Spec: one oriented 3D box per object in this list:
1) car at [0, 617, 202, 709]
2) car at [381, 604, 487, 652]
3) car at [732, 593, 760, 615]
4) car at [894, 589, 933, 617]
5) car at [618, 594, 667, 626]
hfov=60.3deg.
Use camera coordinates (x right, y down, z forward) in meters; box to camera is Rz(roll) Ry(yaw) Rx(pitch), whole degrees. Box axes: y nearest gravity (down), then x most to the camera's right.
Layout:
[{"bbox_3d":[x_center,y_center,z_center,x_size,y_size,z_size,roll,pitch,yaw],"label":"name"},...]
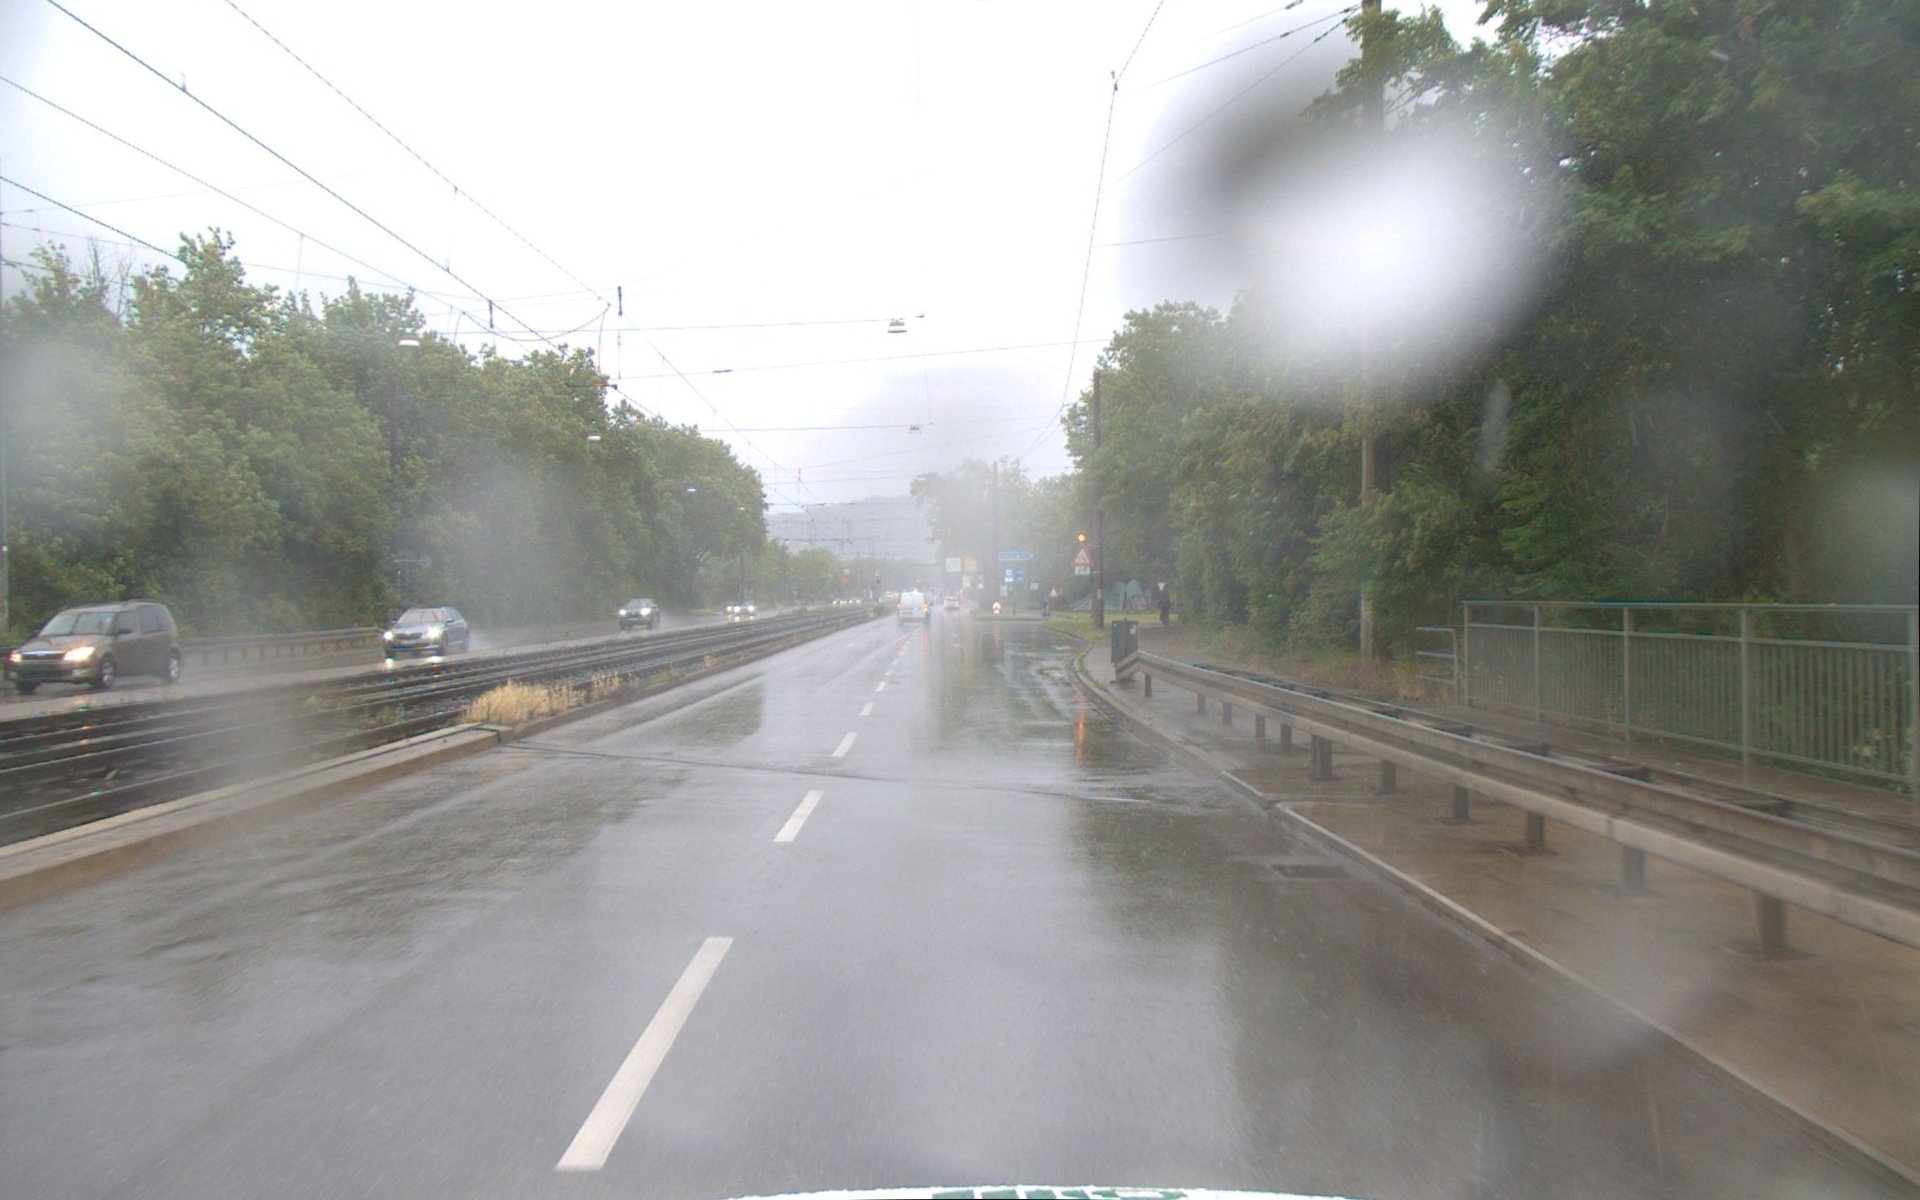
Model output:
[{"bbox_3d":[-16.405,1.148,31.656,1.803,1.601,4.384,0,0,-1],"label":"car"},{"bbox_3d":[-16.749,0.873,52.908,1.953,1.413,4.851,0,0,-2],"label":"car"},{"bbox_3d":[-19.683,0.359,152.301,1.954,1.813,3.999,4,0,-1],"label":"car"},{"bbox_3d":[-2.519,0.160,90.729,2.035,1.445,3.999,-1,0,-1],"label":"car"},{"bbox_3d":[-17.731,0.546,92.613,1.953,1.702,4.871,0,0,-2],"label":"car"}]
